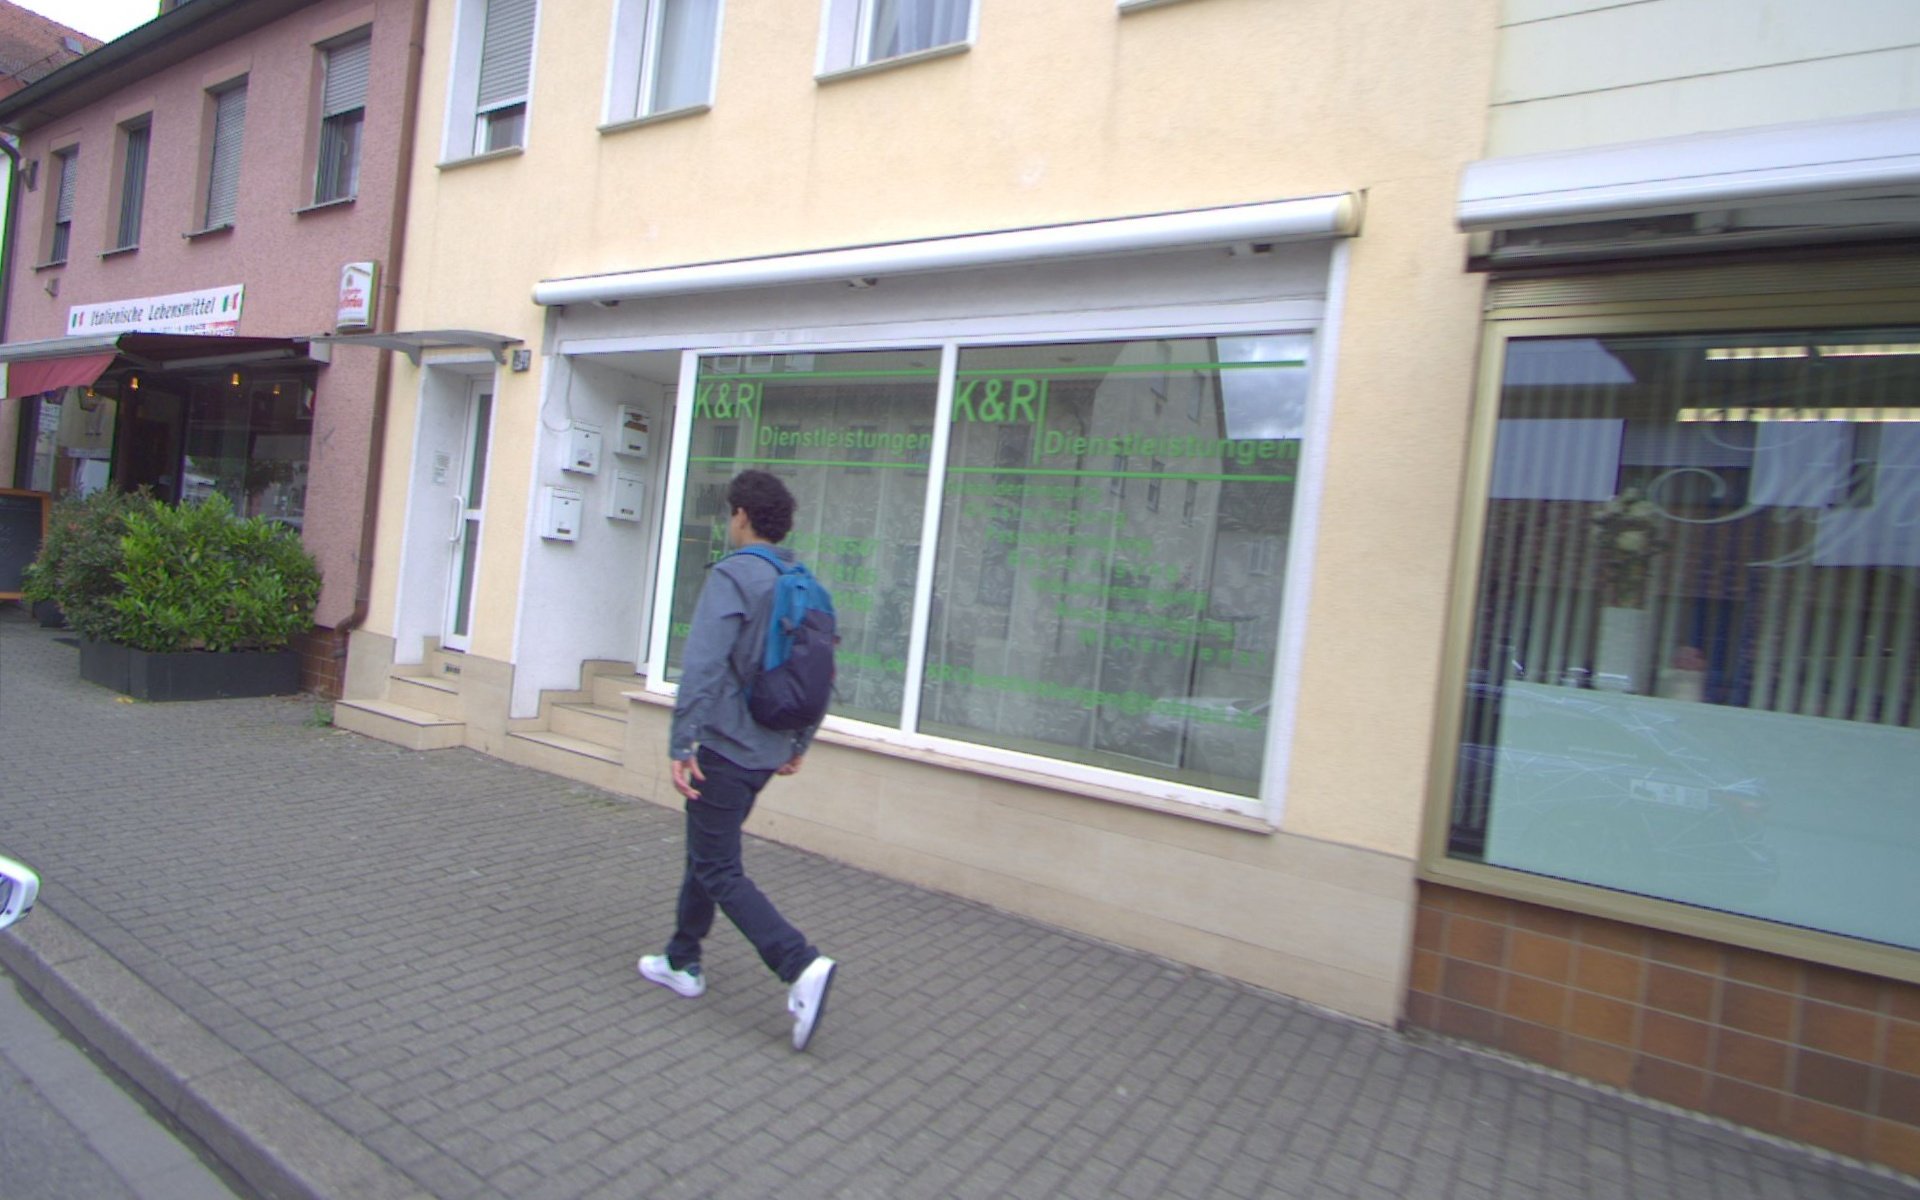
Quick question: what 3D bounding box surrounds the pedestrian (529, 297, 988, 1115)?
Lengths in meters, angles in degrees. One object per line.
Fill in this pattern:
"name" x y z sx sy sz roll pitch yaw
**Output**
"pedestrian" -0.636 0.258 3.184 0.995 2.103 0.823 7 3 34
